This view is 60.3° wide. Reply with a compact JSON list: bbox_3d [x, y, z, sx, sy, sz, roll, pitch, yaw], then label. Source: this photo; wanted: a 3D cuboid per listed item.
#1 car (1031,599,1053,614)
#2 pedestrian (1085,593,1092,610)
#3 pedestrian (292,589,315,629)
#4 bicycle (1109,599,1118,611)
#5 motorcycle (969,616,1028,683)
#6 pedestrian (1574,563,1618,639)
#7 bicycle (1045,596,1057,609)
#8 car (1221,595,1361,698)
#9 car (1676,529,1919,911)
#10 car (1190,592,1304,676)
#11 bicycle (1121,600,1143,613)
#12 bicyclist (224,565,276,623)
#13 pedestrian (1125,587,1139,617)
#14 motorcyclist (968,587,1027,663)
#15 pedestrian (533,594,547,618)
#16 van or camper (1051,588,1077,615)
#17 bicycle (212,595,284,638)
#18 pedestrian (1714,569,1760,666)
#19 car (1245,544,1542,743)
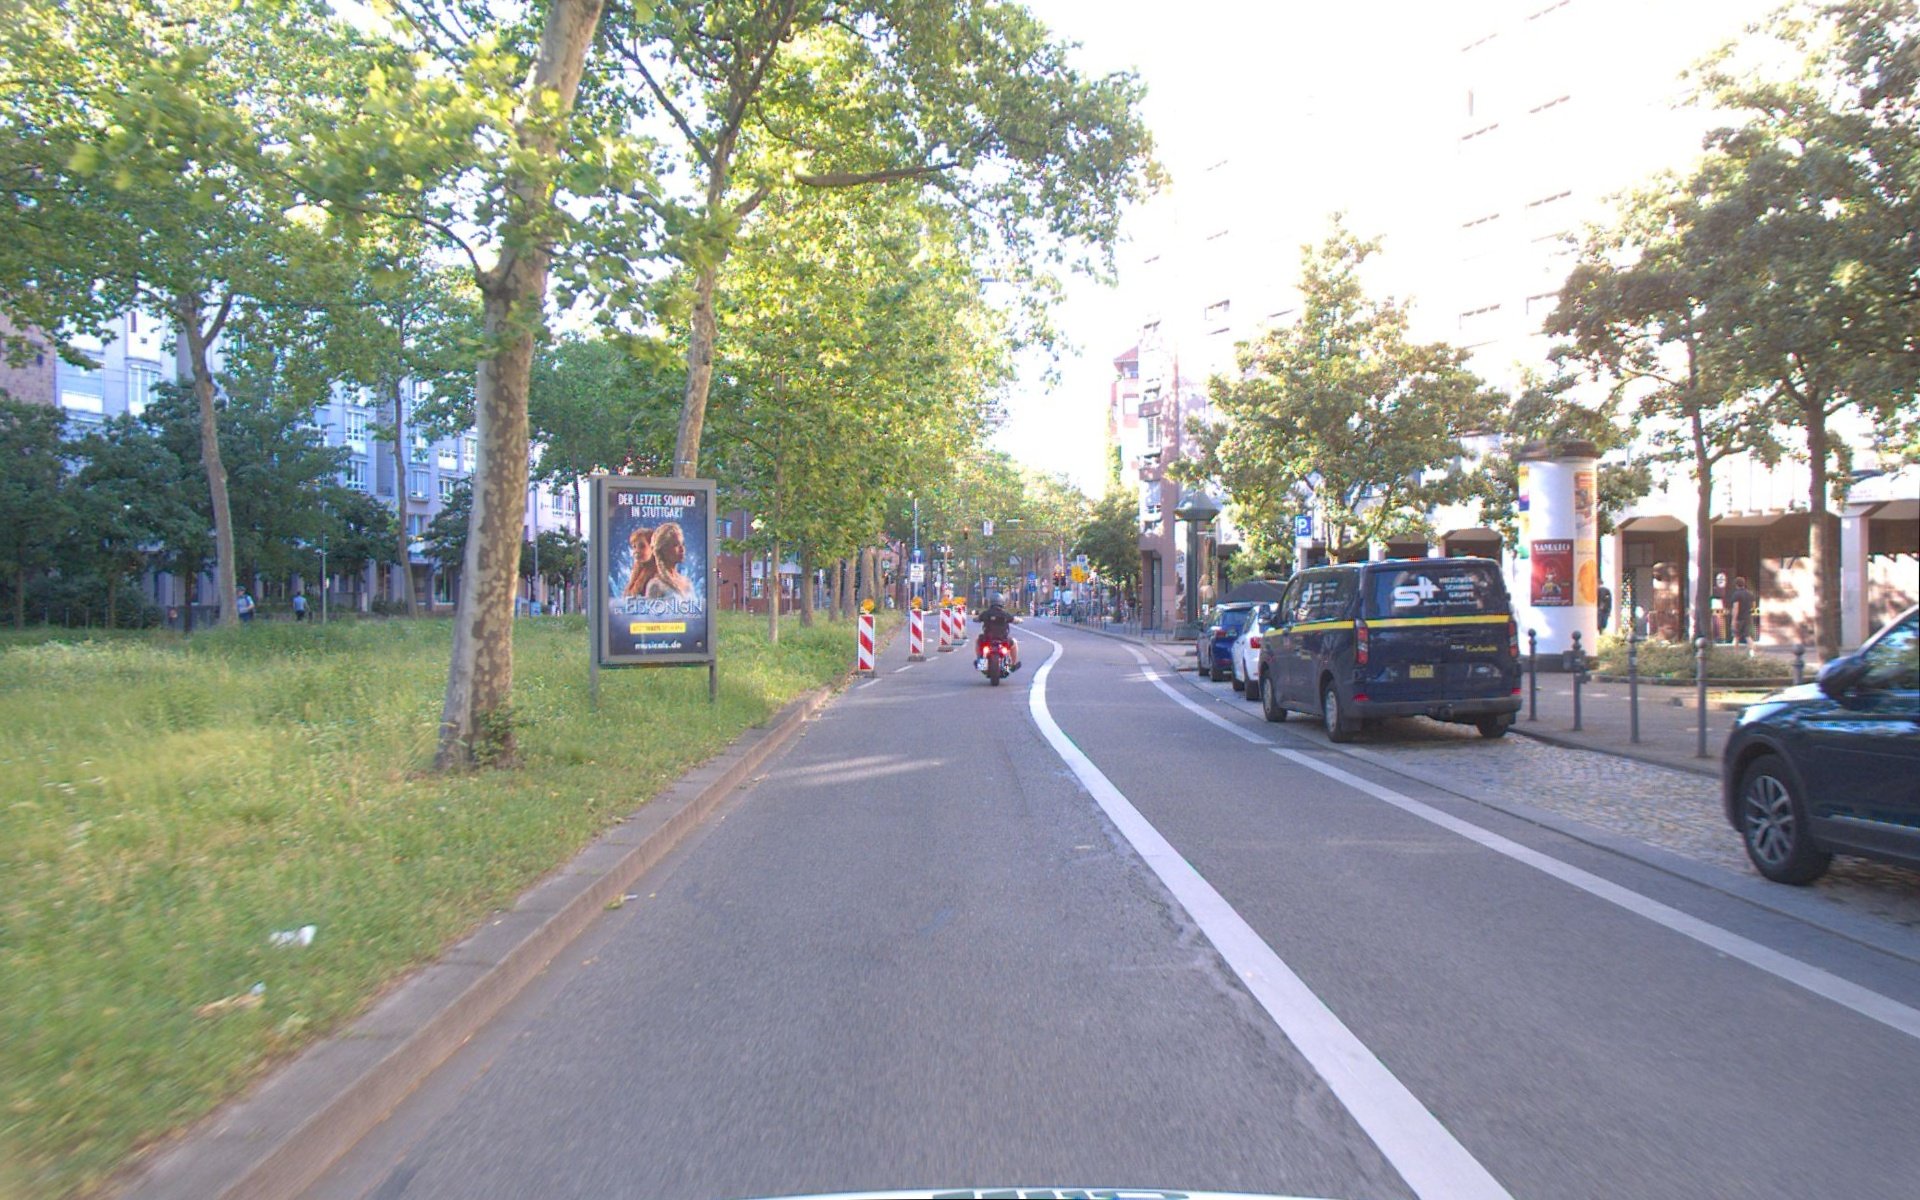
[{"bbox_3d":[7.522,0.605,150.685,1.585,1.325,4.315,0,0,8],"label":"car"},{"bbox_3d":[12.125,0.152,155.602,0.630,1.606,0.748,0,0,4],"label":"pedestrian"},{"bbox_3d":[-29.060,0.400,73.221,0.713,1.770,0.648,0,0,3],"label":"pedestrian"},{"bbox_3d":[13.249,0.434,142.697,0.721,0.956,1.753,0,0,4],"label":"bicycle"},{"bbox_3d":[0.672,0.856,29.256,0.997,1.116,2.008,0,0,0],"label":"motorcycle"},{"bbox_3d":[16.918,0.025,44.026,0.800,2.016,0.847,0,0,-7],"label":"pedestrian"},{"bbox_3d":[7.881,0.210,143.447,0.723,1.071,1.748,0,0,-9],"label":"bicycle"},{"bbox_3d":[5.307,0.695,26.982,1.666,1.491,4.177,-1,0,4],"label":"car"},{"bbox_3d":[5.268,0.518,7.865,1.761,1.754,4.575,-2,0,1],"label":"car"},{"bbox_3d":[5.582,0.621,32.567,1.666,1.509,4.250,-1,0,3],"label":"car"},{"bbox_3d":[14.309,0.499,137.501,1.713,1.071,0.738,0,0,28],"label":"bicycle"},{"bbox_3d":[-19.742,-0.170,46.007,0.922,1.598,1.209,0,0,0],"label":"bicyclist"},{"bbox_3d":[10.091,0.118,97.147,0.764,1.769,0.837,0,0,9],"label":"pedestrian"},{"bbox_3d":[0.668,0.432,29.344,0.991,1.285,0.774,2,0,1],"label":"motorcyclist"},{"bbox_3d":[-28.844,0.409,113.647,0.692,1.667,0.789,0,0,11],"label":"pedestrian"},{"bbox_3d":[10.546,0.149,166.998,2.005,2.585,5.778,0,0,10],"label":"van or camper"},{"bbox_3d":[-19.748,0.448,45.938,0.937,1.146,2.436,0,0,0],"label":"bicycle"},{"bbox_3d":[16.288,0.358,34.687,0.626,2.016,0.776,0,0,1],"label":"pedestrian"},{"bbox_3d":[4.936,0.432,19.712,1.996,1.977,5.196,-2,0,-2],"label":"car"}]
